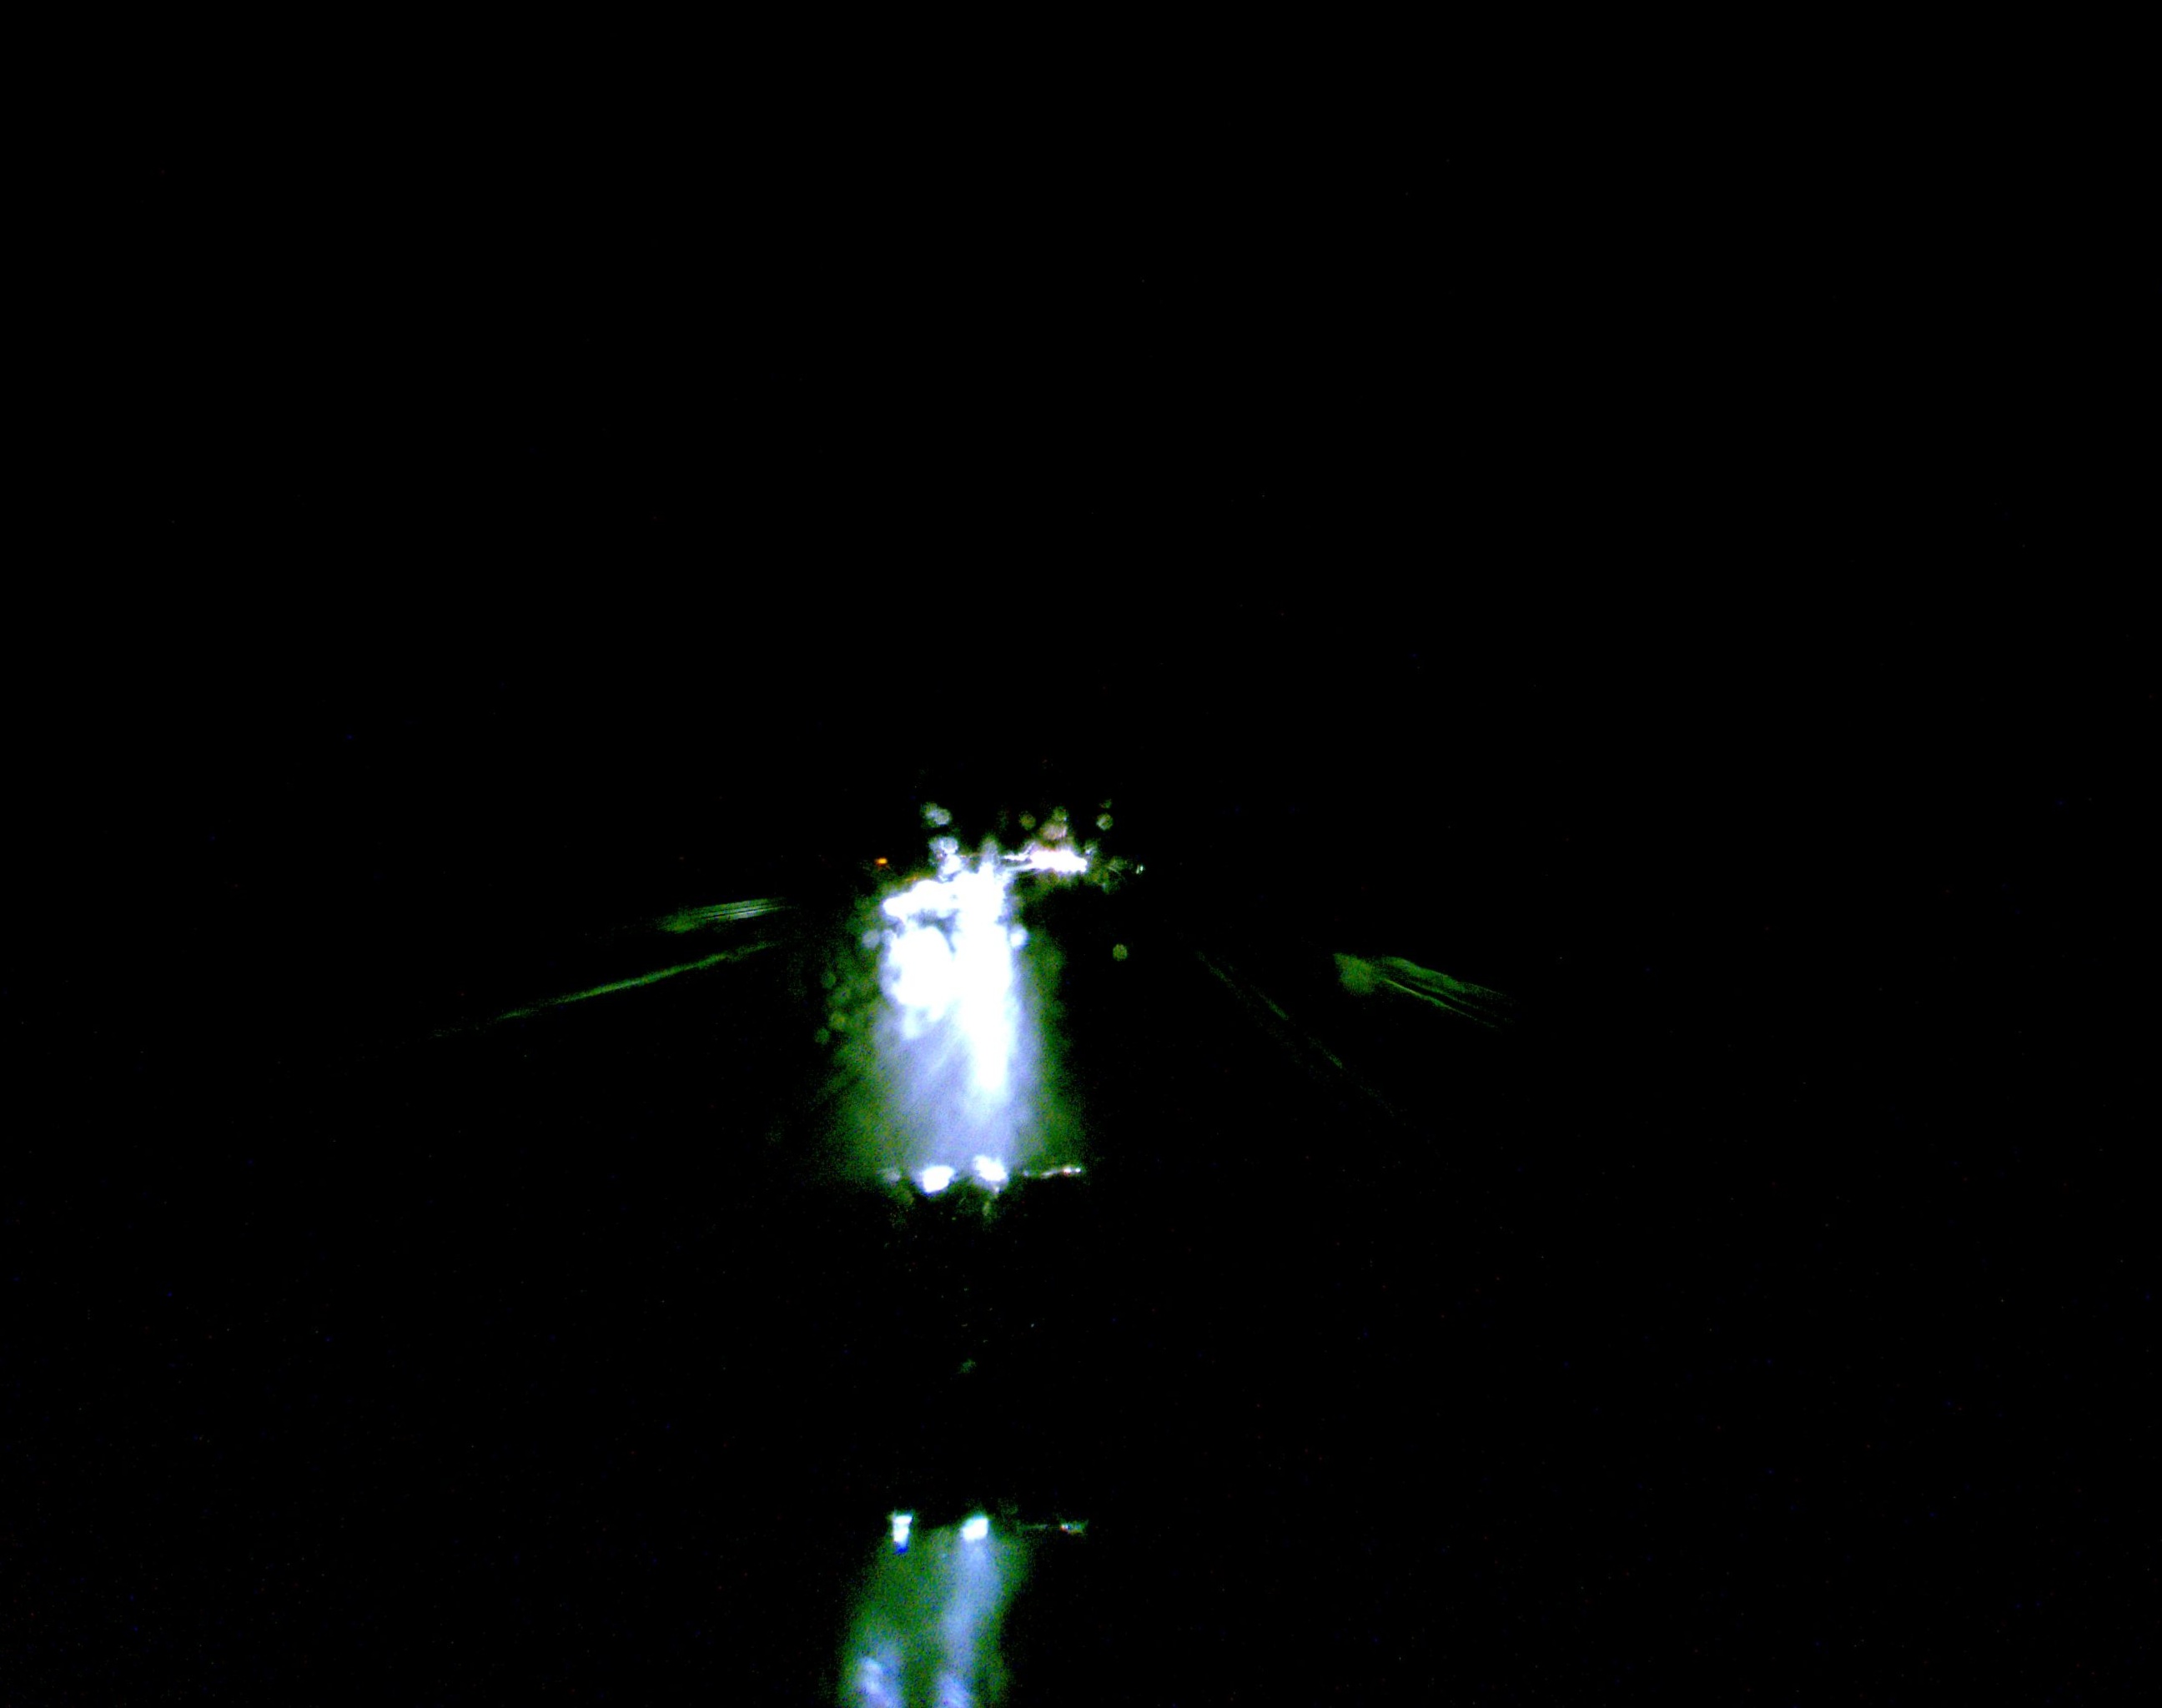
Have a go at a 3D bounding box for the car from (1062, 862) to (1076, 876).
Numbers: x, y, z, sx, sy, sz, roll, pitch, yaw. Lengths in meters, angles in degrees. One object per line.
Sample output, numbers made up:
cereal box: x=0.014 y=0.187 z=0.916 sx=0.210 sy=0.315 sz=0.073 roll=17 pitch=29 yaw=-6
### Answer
car: x=-1.747 y=2.262 z=123.058 sx=1.987 sy=2.014 sz=3.998 roll=3 pitch=-2 yaw=-1

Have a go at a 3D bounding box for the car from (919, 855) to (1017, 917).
car: x=-2.866 y=0.776 z=21.622 sx=1.862 sy=1.448 sz=4.394 roll=-1 pitch=0 yaw=1
